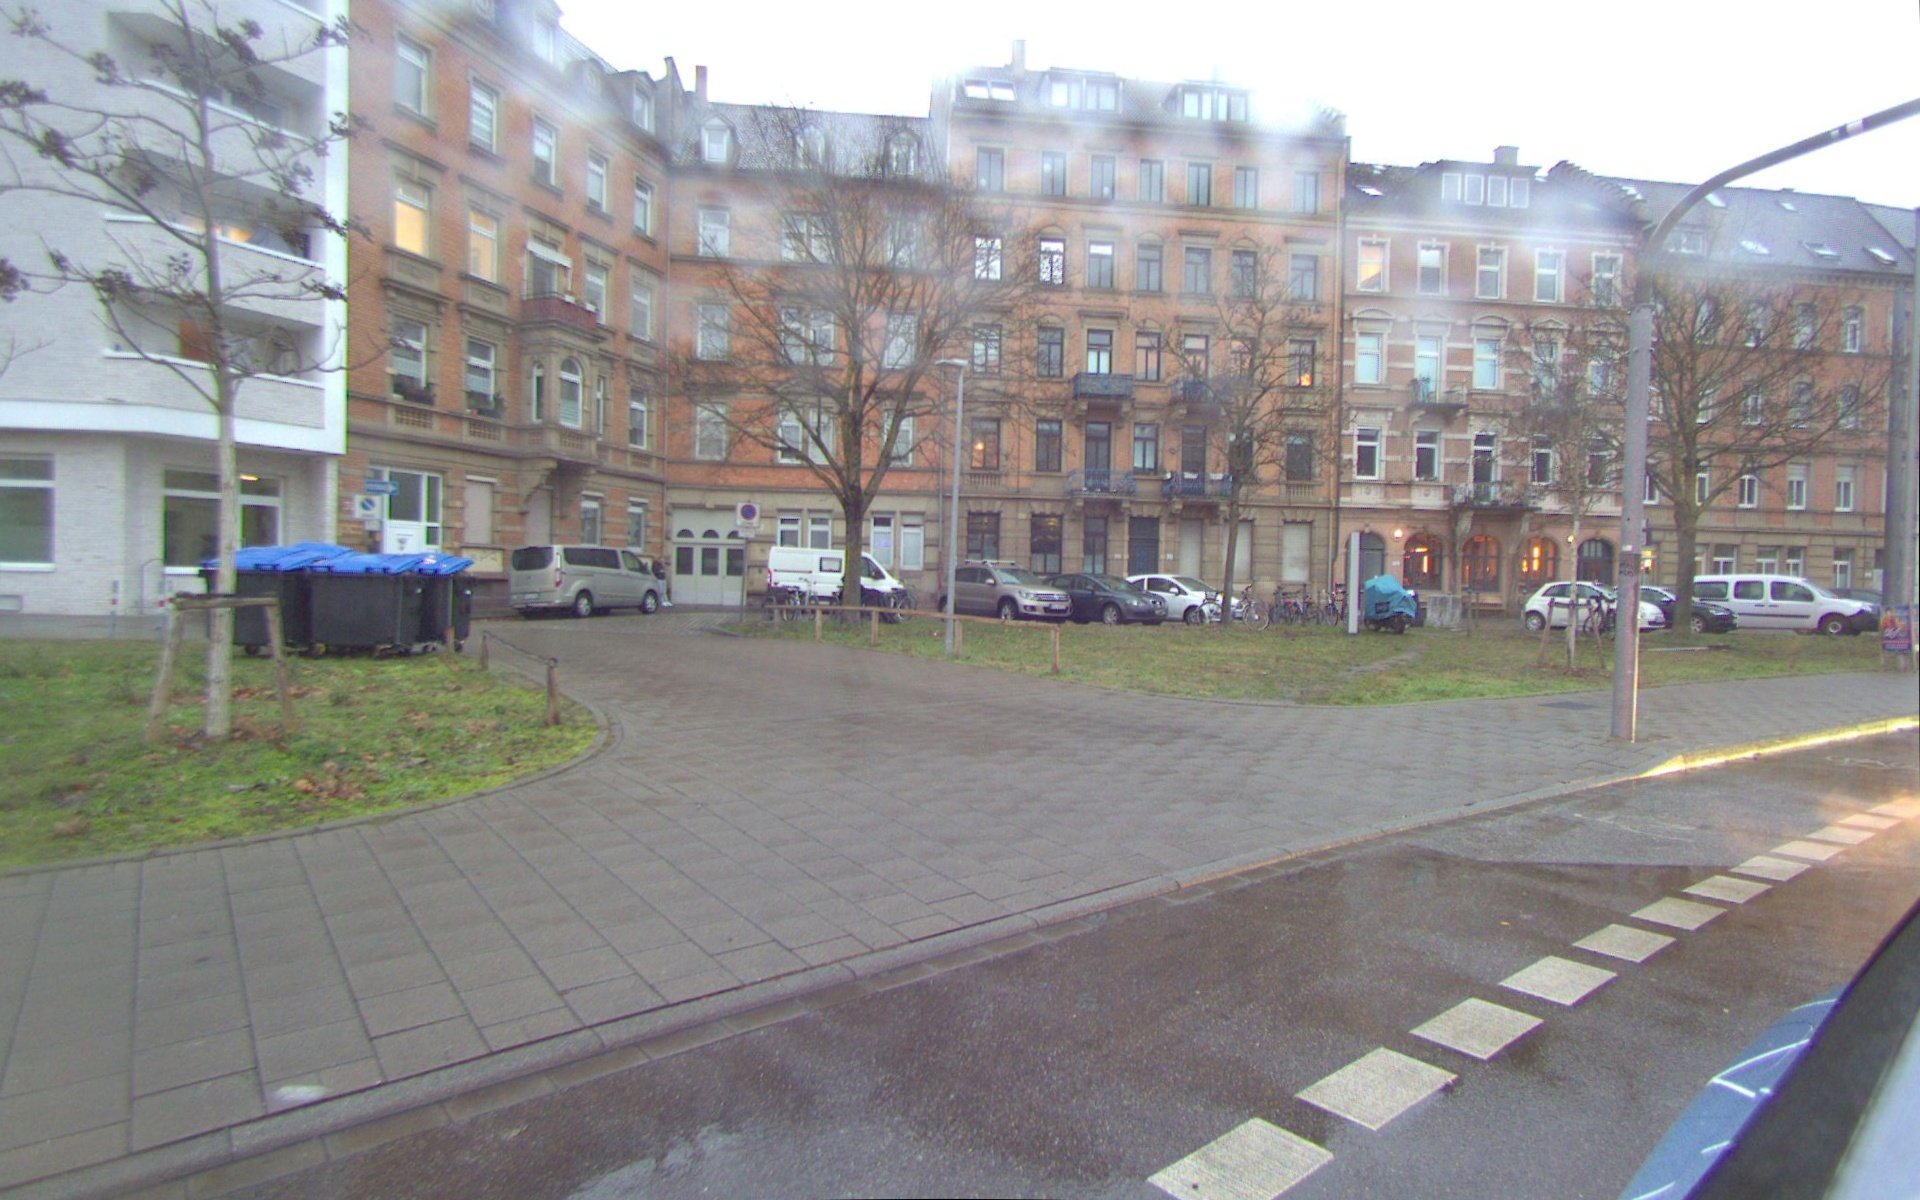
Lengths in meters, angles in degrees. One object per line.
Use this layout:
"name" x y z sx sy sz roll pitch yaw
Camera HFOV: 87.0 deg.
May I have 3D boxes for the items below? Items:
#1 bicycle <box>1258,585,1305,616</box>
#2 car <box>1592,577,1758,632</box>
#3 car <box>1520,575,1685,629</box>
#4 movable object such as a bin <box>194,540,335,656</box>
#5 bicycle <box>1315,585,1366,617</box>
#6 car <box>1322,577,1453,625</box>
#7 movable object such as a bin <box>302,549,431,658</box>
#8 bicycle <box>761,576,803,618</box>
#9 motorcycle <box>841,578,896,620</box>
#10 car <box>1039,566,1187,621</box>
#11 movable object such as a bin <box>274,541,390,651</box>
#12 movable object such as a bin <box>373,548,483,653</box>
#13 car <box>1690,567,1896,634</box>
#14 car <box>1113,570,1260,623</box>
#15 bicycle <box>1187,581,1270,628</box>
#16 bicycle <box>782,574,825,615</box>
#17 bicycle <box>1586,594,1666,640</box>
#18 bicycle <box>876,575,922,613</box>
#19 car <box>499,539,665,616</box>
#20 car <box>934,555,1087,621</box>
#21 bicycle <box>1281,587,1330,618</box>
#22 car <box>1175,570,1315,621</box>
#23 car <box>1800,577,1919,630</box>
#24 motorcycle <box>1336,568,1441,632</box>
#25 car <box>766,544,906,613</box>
"bicycle" 9.348 0.006 29.509 0.436 0.804 1.800 1 3 -13
"car" 20.907 0.097 29.732 1.492 1.455 3.688 0 1 -36
"car" 18.329 0.018 28.986 1.492 1.417 3.688 0 1 -36
"movable object such as a bin" -9.614 -0.035 14.038 1.229 1.529 1.053 1 1 -1
"bicycle" 11.166 0.031 29.768 0.386 0.827 1.800 1 3 -16
"car" 12.752 -0.007 30.328 1.492 1.322 3.301 0 1 -36
"movable object such as a bin" -8.309 0.034 14.221 1.201 1.450 1.053 1 1 -1
"bicycle" -4.463 -0.096 25.305 0.437 0.942 1.798 0 3 -30
"motorcycle" -2.316 -0.030 25.450 0.503 0.942 1.796 0 3 -36
"car" 3.934 -0.209 26.542 1.710 1.322 3.687 0 1 -37
"movable object such as a bin" -9.541 -0.074 15.423 1.118 1.595 1.053 1 1 -1
"movable object such as a bin" -8.031 -0.003 15.341 1.118 1.504 1.053 1 1 -1
"car" 24.151 -0.042 29.492 1.748 1.790 4.344 0 1 -37
"car" 6.068 -0.125 27.423 1.638 1.322 3.687 0 1 -37
"bicycle" 6.472 0.102 24.483 1.879 1.031 0.535 2 3 14
"bicycle" -3.976 -0.153 25.610 0.437 0.942 1.798 0 3 -30
"bicycle" 15.557 0.373 23.691 0.437 0.942 1.799 1 3 -8
"bicycle" -1.664 -0.177 27.392 0.437 0.942 1.798 0 3 -30
"car" -10.527 -0.631 28.600 1.919 1.966 4.569 1 1 20
"car" 1.235 -0.342 26.441 1.710 1.589 4.155 0 1 -37
"bicycle" 10.026 0.056 29.447 0.436 0.787 1.800 1 3 -13
"car" 8.043 -0.163 28.832 1.493 1.322 3.687 0 1 -37
"car" 27.166 0.092 29.362 1.668 1.463 3.968 1 1 -31
"motorcycle" 10.367 -0.032 24.600 0.866 1.362 2.364 0 4 -22
"car" -4.240 -0.718 34.451 4.565 2.216 2.003 1 1 -8
